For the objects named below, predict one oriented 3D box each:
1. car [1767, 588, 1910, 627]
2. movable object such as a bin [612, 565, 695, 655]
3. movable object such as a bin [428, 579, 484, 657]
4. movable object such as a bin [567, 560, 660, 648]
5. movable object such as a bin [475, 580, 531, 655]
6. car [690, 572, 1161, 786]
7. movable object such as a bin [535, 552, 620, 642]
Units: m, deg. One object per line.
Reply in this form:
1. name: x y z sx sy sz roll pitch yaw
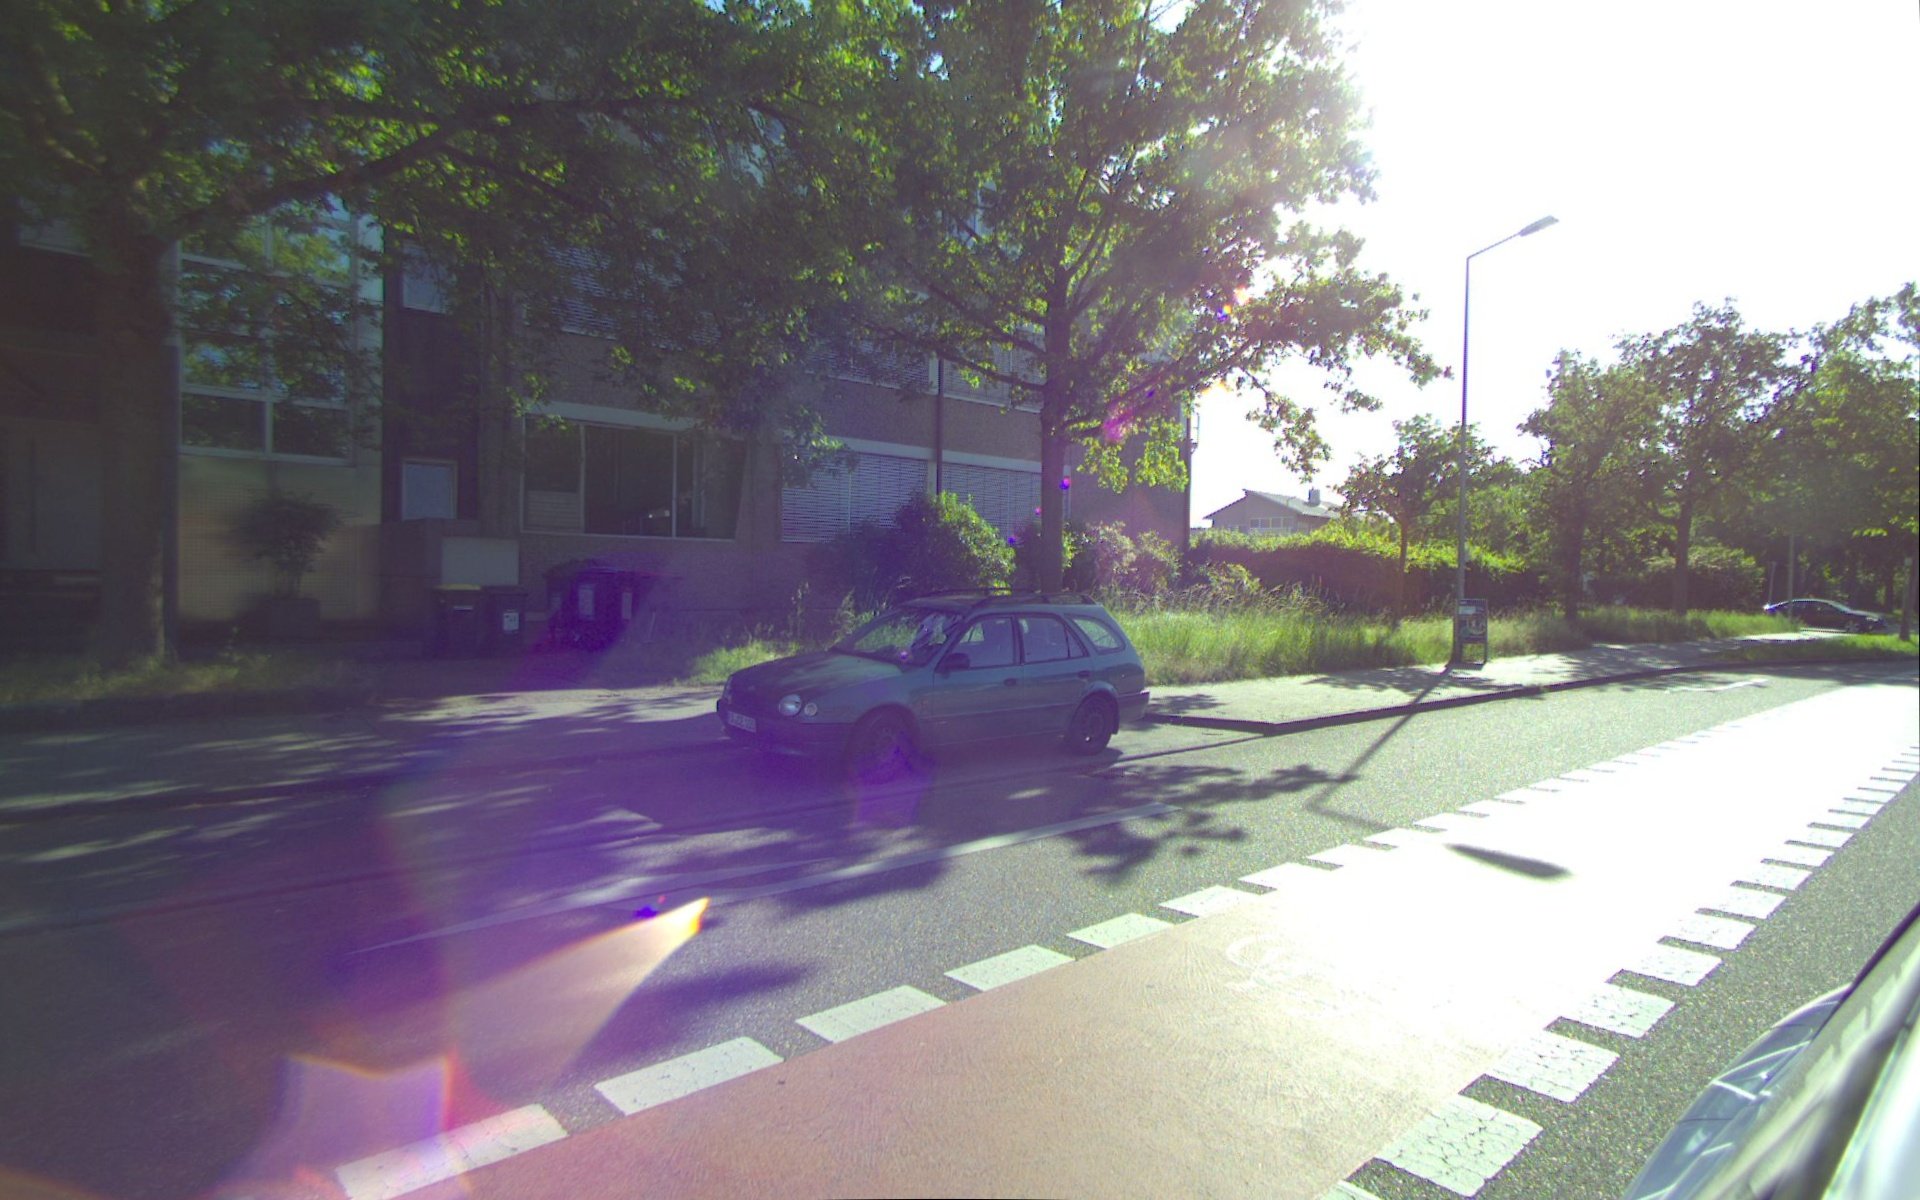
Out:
1. car: 39.402 0.286 45.518 1.859 1.538 4.495 0 2 -29
2. movable object such as a bin: -4.785 0.123 15.765 0.878 1.323 1.186 0 2 -37
3. movable object such as a bin: -7.218 0.243 14.489 0.575 1.070 0.625 0 1 -42
4. movable object such as a bin: -5.775 0.041 16.853 1.070 1.388 1.186 0 2 -43
5. movable object such as a bin: -6.763 0.238 14.970 0.604 1.075 0.634 0 1 -42
6. car: -0.149 0.572 9.124 4.068 1.487 1.705 1 1 -41
7. movable object such as a bin: -6.784 -0.075 17.933 1.024 1.501 1.309 0 2 -41
